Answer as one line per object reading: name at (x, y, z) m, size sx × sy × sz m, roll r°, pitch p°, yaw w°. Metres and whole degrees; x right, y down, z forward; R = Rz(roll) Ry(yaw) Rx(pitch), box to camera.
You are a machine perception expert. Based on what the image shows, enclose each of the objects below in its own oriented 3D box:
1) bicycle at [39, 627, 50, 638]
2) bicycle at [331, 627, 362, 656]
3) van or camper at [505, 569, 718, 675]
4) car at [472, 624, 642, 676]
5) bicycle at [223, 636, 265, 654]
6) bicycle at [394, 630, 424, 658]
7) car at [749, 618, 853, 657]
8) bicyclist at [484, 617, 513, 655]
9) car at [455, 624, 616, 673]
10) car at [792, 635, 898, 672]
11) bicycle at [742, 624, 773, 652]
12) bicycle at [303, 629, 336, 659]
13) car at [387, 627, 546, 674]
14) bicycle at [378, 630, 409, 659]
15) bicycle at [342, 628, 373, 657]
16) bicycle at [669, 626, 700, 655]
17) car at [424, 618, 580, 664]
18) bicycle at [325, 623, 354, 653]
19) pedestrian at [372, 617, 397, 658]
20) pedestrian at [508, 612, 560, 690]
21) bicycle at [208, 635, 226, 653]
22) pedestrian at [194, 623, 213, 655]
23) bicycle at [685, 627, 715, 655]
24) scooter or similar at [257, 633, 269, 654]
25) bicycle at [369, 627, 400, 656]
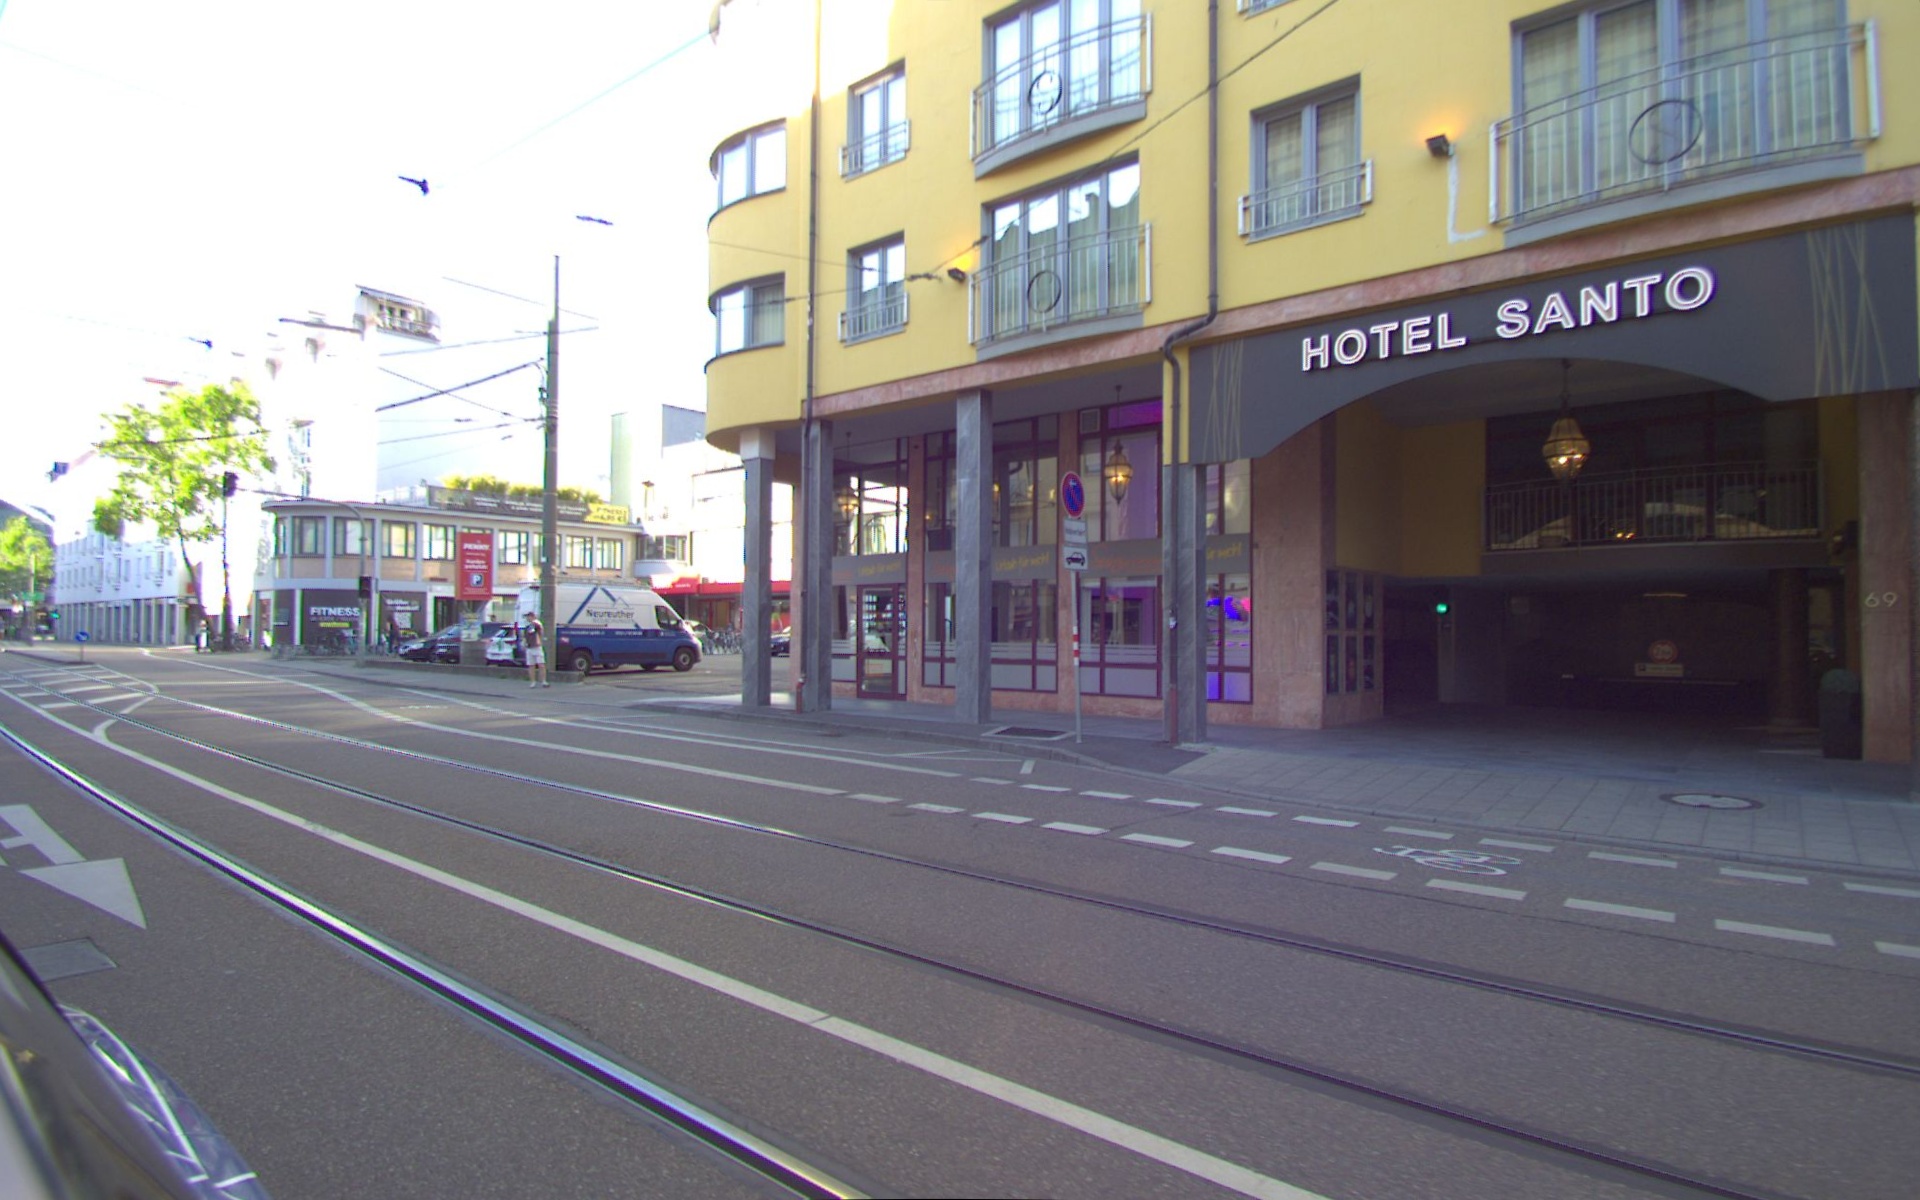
bicycle at (-86.702, 3.095, 95.836) m, size 1.726 × 0.996 × 0.512 m, roll -1°, pitch -1°, yaw 41°
bicycle at (-25.695, 1.732, 42.361) m, size 1.828 × 1.196 × 0.444 m, roll -2°, pitch -3°, yaw 37°
van or camper at (-10.146, 0.707, 29.897) m, size 2.314 × 2.849 × 5.548 m, roll -2°, pitch -3°, yaw 40°
car at (-12.368, 1.516, 31.325) m, size 1.878 × 1.487 × 4.541 m, roll -2°, pitch -3°, yaw 40°
bicycle at (-39.331, 2.457, 55.622) m, size 1.824 × 0.919 × 0.389 m, roll 0°, pitch -4°, yaw -45°
bicycle at (-23.741, 1.897, 43.595) m, size 1.828 × 1.196 × 0.444 m, roll -2°, pitch -3°, yaw 37°
car at (-6.438, 1.525, 41.375) m, size 1.997 × 1.519 × 3.949 m, roll -1°, pitch -2°, yaw 37°
bicyclist at (-19.348, 1.503, 42.454) m, size 0.687 × 1.561 × 0.831 m, roll 0°, pitch -2°, yaw 23°
car at (-13.883, 1.578, 33.292) m, size 1.878 × 1.487 × 4.541 m, roll -2°, pitch -3°, yaw 40°
car at (-4.523, 2.072, 40.205) m, size 1.997 × 1.364 × 3.949 m, roll -1°, pitch -2°, yaw 37°
bicycle at (-8.849, 1.636, 44.177) m, size 0.426 × 1.196 × 1.833 m, roll 2°, pitch -2°, yaw -43°
bicycle at (-26.574, 1.820, 41.960) m, size 1.826 × 1.196 × 0.442 m, roll -2°, pitch -3°, yaw 34°
car at (-17.823, 1.803, 36.744) m, size 1.878 × 1.595 × 4.844 m, roll -2°, pitch -3°, yaw 40°
bicycle at (-23.988, 1.876, 42.831) m, size 1.828 × 1.196 × 0.444 m, roll -2°, pitch -3°, yaw 37°
bicycle at (-25.398, 1.808, 42.646) m, size 1.828 × 1.196 × 0.439 m, roll -2°, pitch -3°, yaw 37°
bicycle at (-11.708, 1.725, 42.990) m, size 0.426 × 1.196 × 1.833 m, roll 2°, pitch -3°, yaw -43°
car at (-15.766, 1.413, 35.036) m, size 1.878 × 1.487 × 4.541 m, roll -2°, pitch -3°, yaw 40°
bicycle at (-25.746, 1.585, 41.948) m, size 1.830 × 1.196 × 0.436 m, roll -2°, pitch -3°, yaw 40°
pedestrian at (-24.046, 1.573, 42.265) m, size 0.682 × 1.710 × 0.674 m, roll -2°, pitch -3°, yaw 38°
pedestrian at (-10.417, 1.237, 24.748) m, size 0.908 × 1.846 × 0.825 m, roll -2°, pitch -3°, yaw 39°
bicycle at (-40.184, 2.384, 54.752) m, size 1.850 × 0.919 × 0.384 m, roll -1°, pitch -1°, yaw 41°
pedestrian at (-41.290, 2.132, 55.231) m, size 0.621 × 1.729 × 0.828 m, roll 1°, pitch -2°, yaw -23°
bicycle at (-11.179, 1.756, 43.463) m, size 0.426 × 1.196 × 1.833 m, roll 2°, pitch -3°, yaw -43°
scooter or similar at (-37.696, 2.362, 54.746) m, size 0.330 × 1.120 × 1.183 m, roll 1°, pitch -2°, yaw -27°
bicycle at (-24.150, 1.728, 42.457) m, size 1.828 × 1.196 × 0.444 m, roll -2°, pitch -3°, yaw 37°
